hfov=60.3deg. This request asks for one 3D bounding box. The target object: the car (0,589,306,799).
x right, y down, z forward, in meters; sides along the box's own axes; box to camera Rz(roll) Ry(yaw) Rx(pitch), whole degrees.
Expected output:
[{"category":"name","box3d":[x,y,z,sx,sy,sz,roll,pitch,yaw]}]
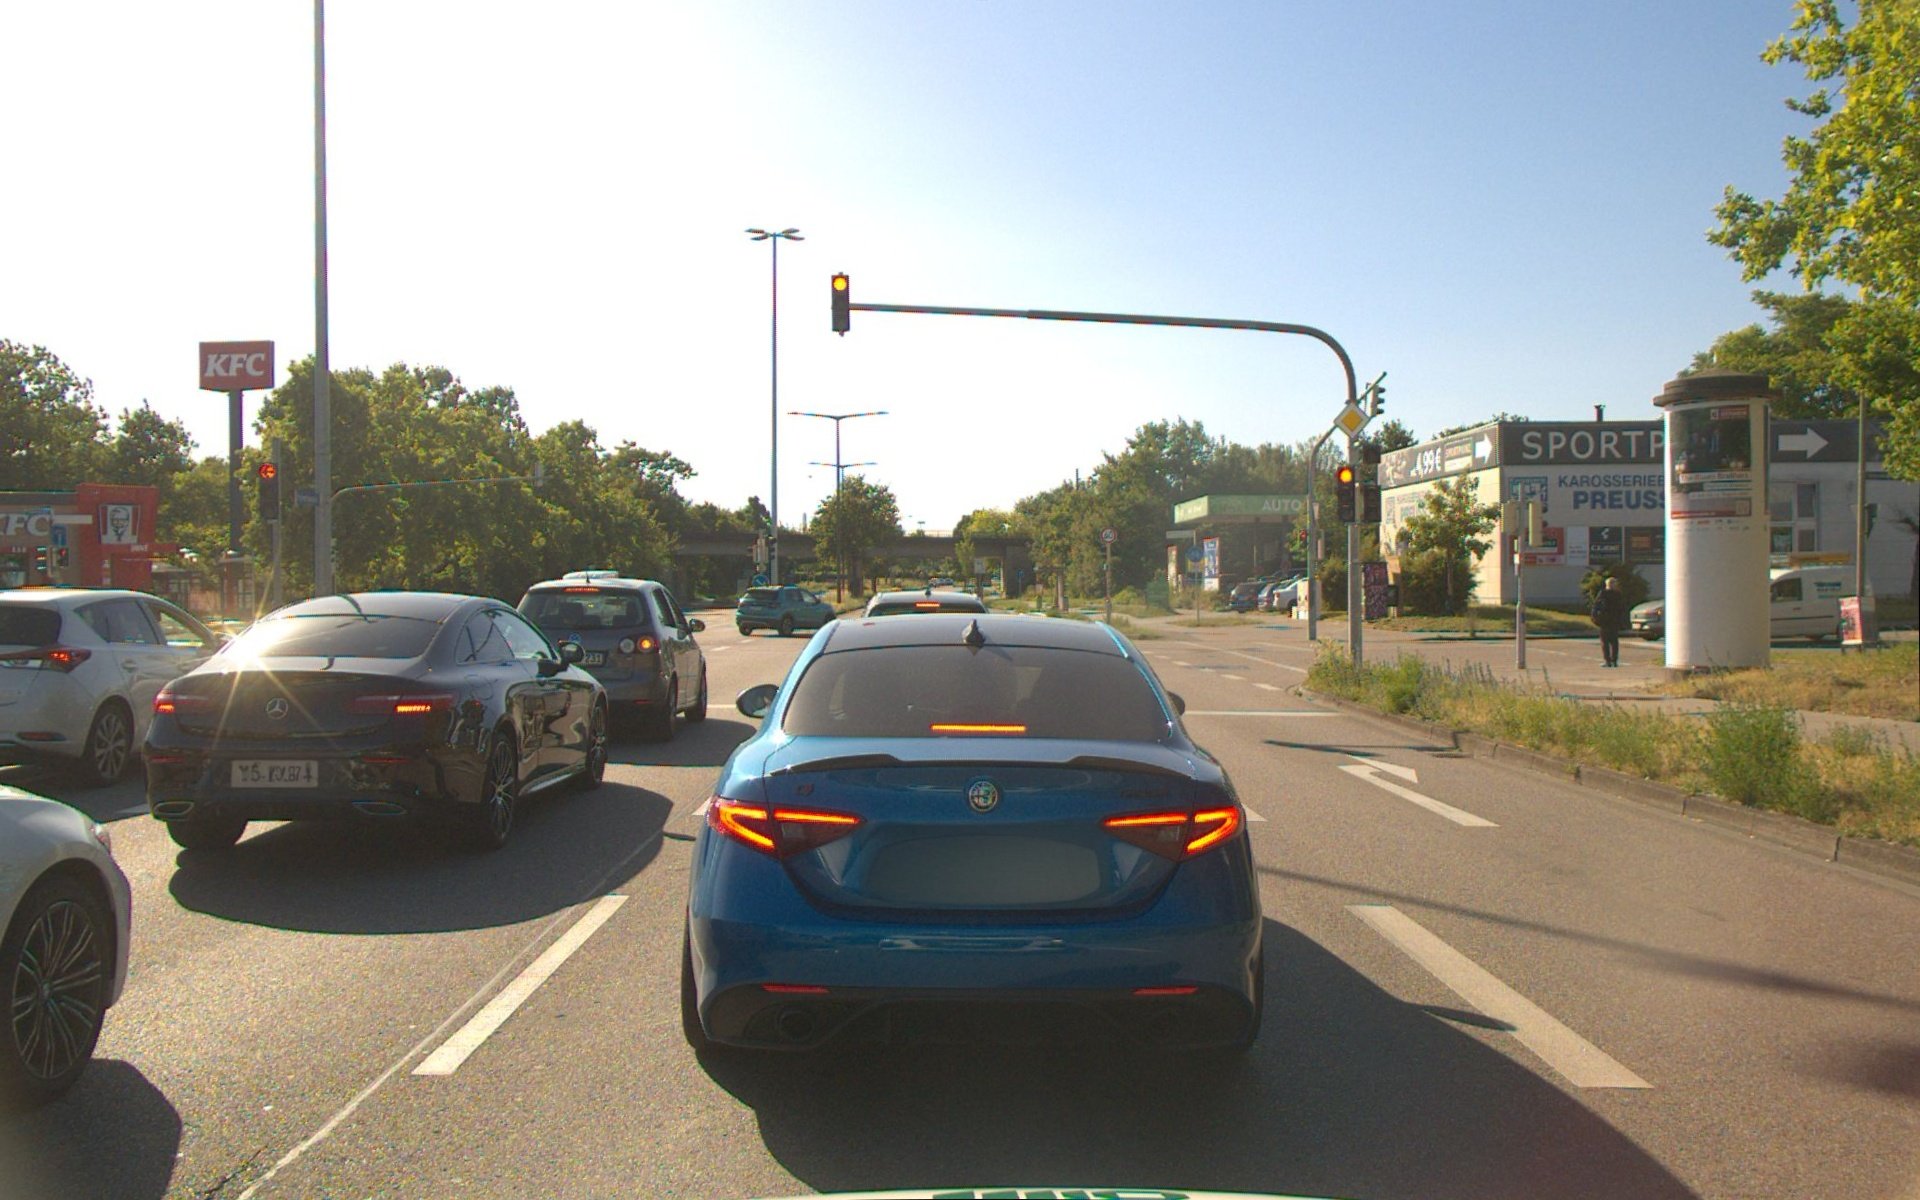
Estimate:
[{"category":"car","box3d":[-7.153,0.636,13.634,1.819,1.454,4.403,0,0,-1]}]

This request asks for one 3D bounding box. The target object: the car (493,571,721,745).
[{"category":"car","box3d":[-3.591,0.524,17.469,1.615,1.626,3.931,0,0,-1]}]

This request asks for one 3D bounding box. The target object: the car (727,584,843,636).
[{"category":"car","box3d":[-5.665,0.282,53.879,1.784,1.622,4.044,0,1,29]}]

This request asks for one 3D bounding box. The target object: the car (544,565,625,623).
[{"category":"car","box3d":[-16.676,-0.276,73.763,2.382,2.469,5.830,0,1,-1]}]

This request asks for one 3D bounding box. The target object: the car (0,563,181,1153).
[{"category":"car","box3d":[-3.350,0.682,3.089,1.732,1.535,4.460,0,0,-1]}]

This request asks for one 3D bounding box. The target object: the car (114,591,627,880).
[{"category":"car","box3d":[-3.415,0.669,10.562,1.732,1.439,4.460,0,0,-1]}]

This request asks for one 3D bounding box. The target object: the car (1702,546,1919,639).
[{"category":"car","box3d":[20.600,-0.188,40.153,4.318,2.183,1.998,0,0,-4]}]

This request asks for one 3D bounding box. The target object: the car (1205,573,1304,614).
[{"category":"car","box3d":[12.669,-0.264,71.146,3.928,1.736,1.686,0,0,-20]}]

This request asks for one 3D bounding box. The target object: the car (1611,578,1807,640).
[{"category":"car","box3d":[19.756,0.227,43.722,4.318,1.580,1.998,0,0,-4]}]

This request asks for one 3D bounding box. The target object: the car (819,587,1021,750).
[{"category":"car","box3d":[-0.394,0.609,17.047,1.828,1.475,3.931,0,0,-1]}]

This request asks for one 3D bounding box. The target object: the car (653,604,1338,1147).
[{"category":"car","box3d":[0.071,0.747,6.401,1.828,1.409,3.931,0,0,-1]}]

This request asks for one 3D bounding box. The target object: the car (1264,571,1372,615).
[{"category":"car","box3d":[14.342,-0.275,66.316,3.923,1.736,1.687,0,0,-17]}]

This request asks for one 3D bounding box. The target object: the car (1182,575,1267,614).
[{"category":"car","box3d":[11.874,-0.259,74.325,3.428,1.736,1.688,0,0,-17]}]

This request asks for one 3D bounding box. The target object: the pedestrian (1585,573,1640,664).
[{"category":"pedestrian","box3d":[12.676,0.356,32.146,0.805,1.752,0.854,0,0,6]}]

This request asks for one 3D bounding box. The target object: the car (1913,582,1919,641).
[{"category":"car","box3d":[27.927,0.315,43.793,4.318,1.580,1.998,0,0,-4]}]
